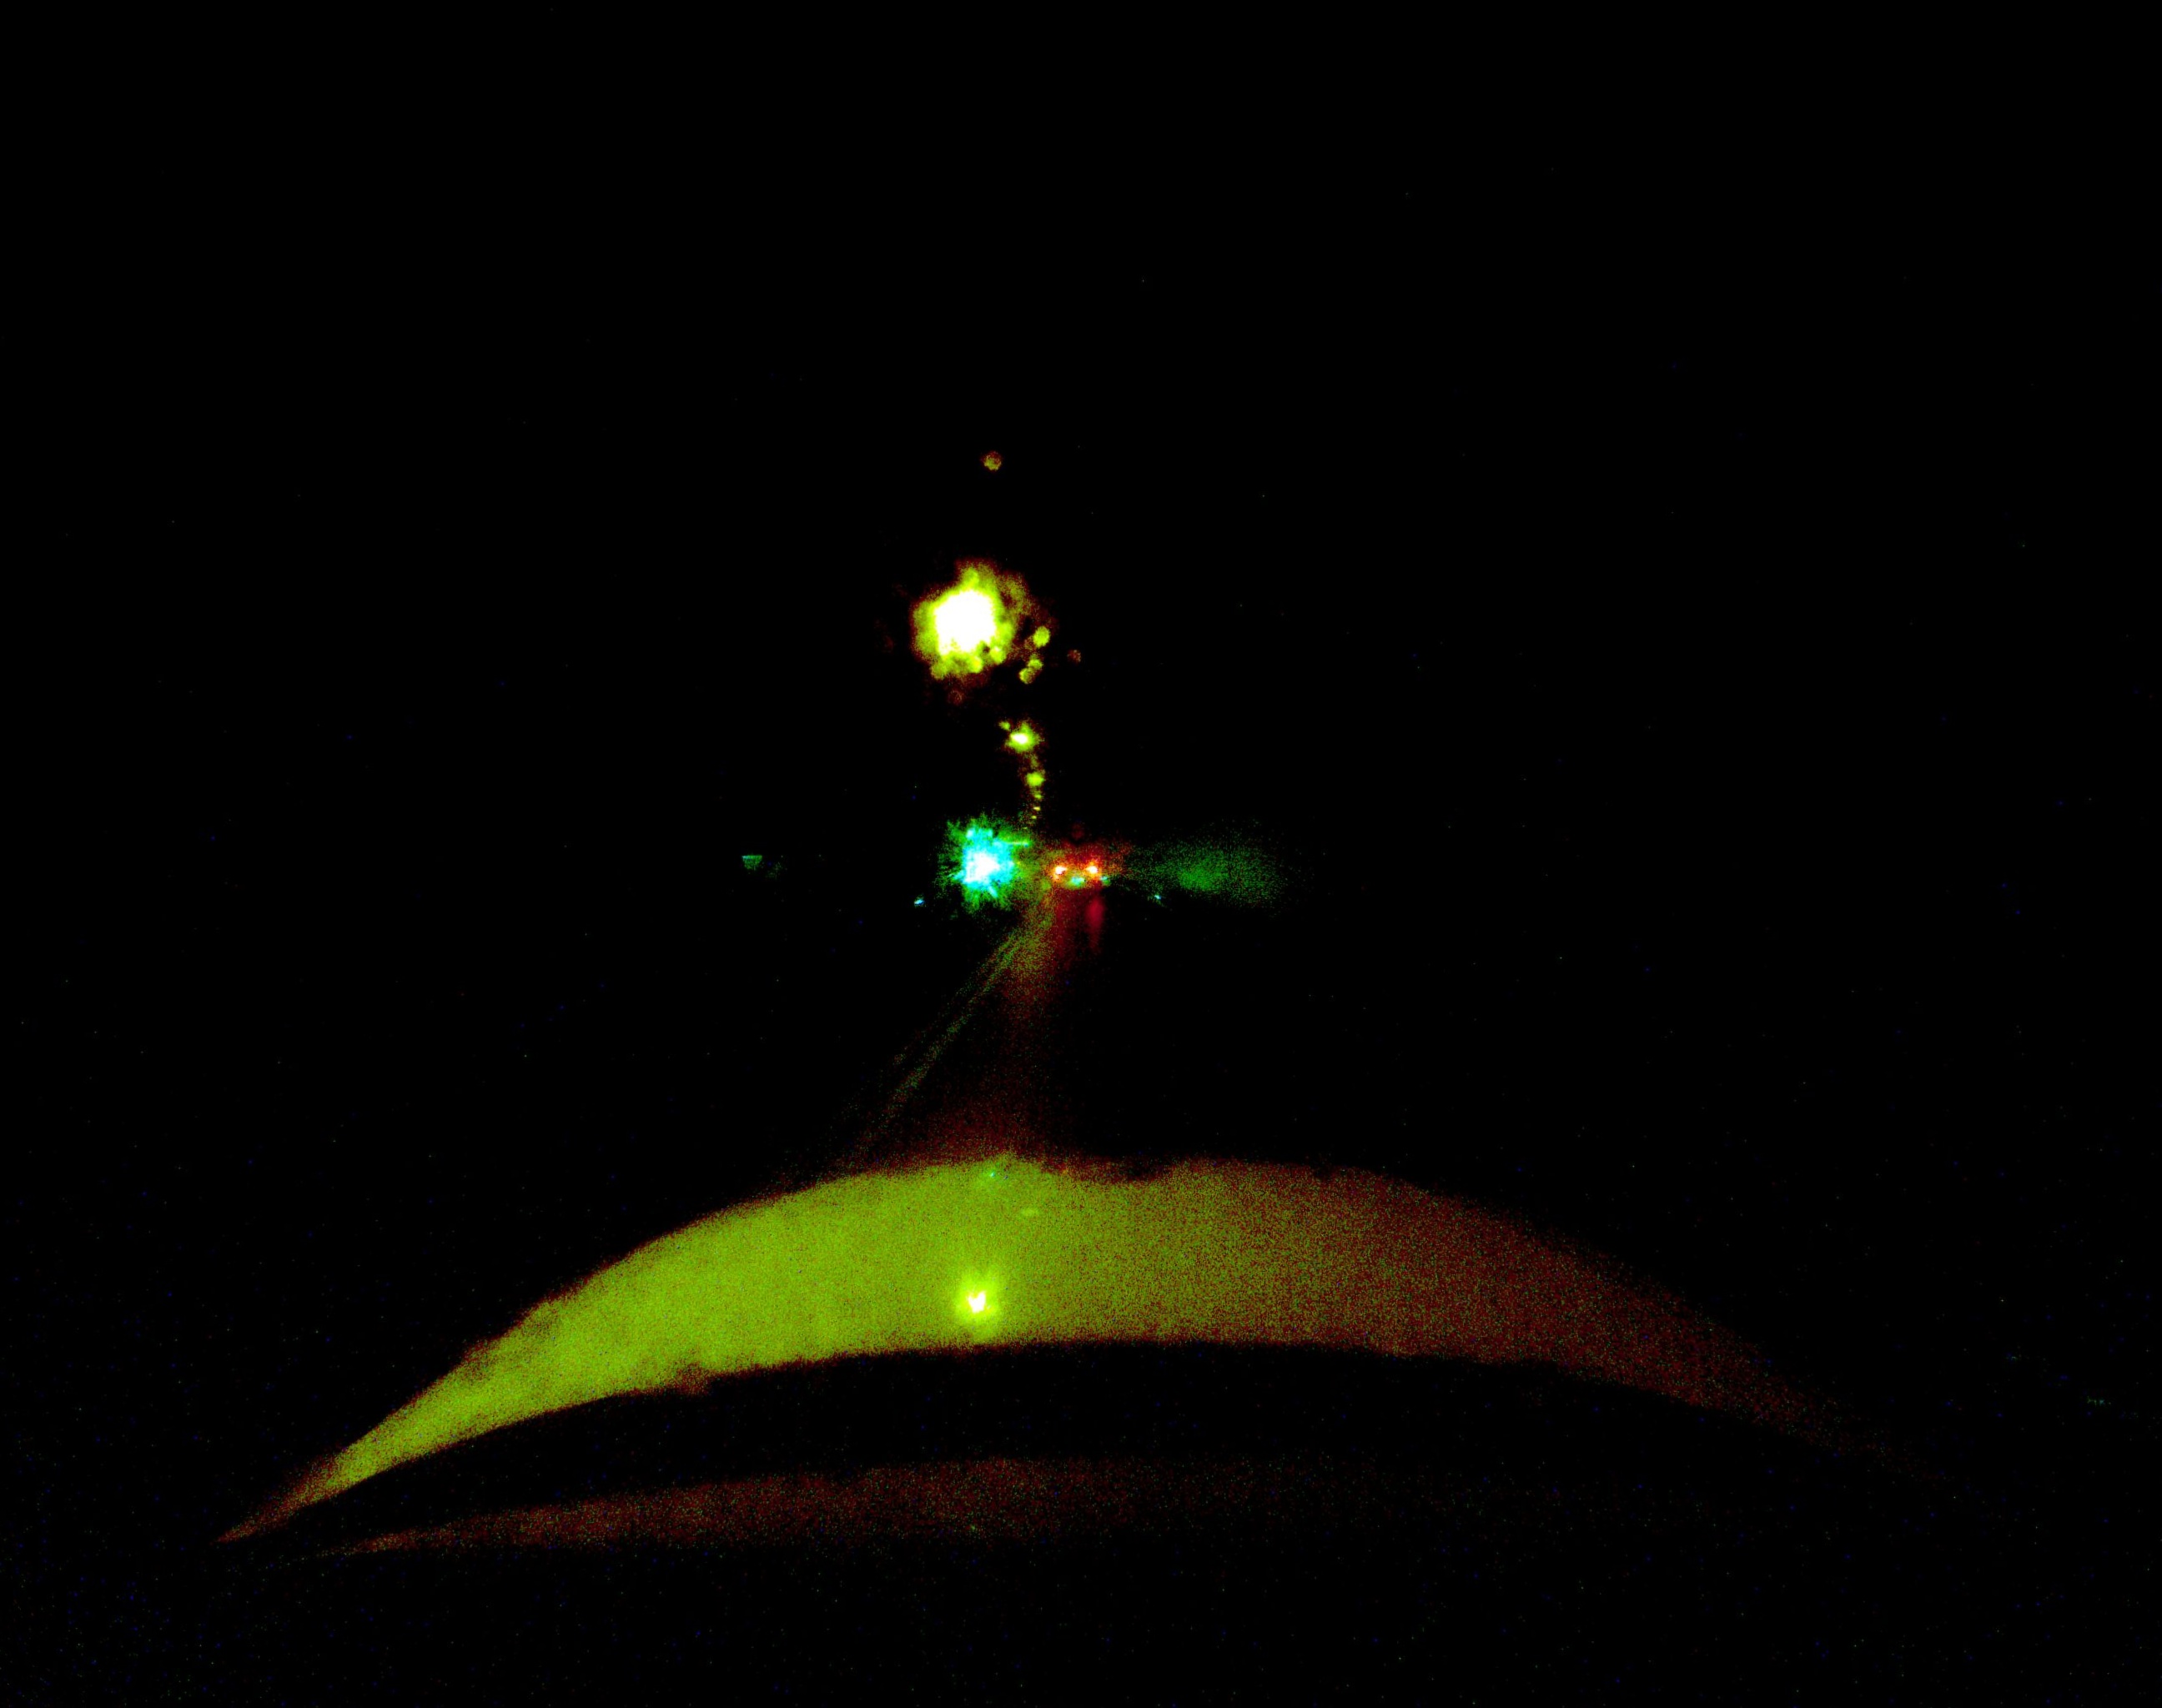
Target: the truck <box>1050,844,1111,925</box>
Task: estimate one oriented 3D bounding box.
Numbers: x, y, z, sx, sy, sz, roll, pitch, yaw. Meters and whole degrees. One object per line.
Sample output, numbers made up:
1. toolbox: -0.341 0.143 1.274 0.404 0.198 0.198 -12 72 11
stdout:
1. truck: -0.013 1.179 34.495 2.255 3.011 7.414 1 0 0
